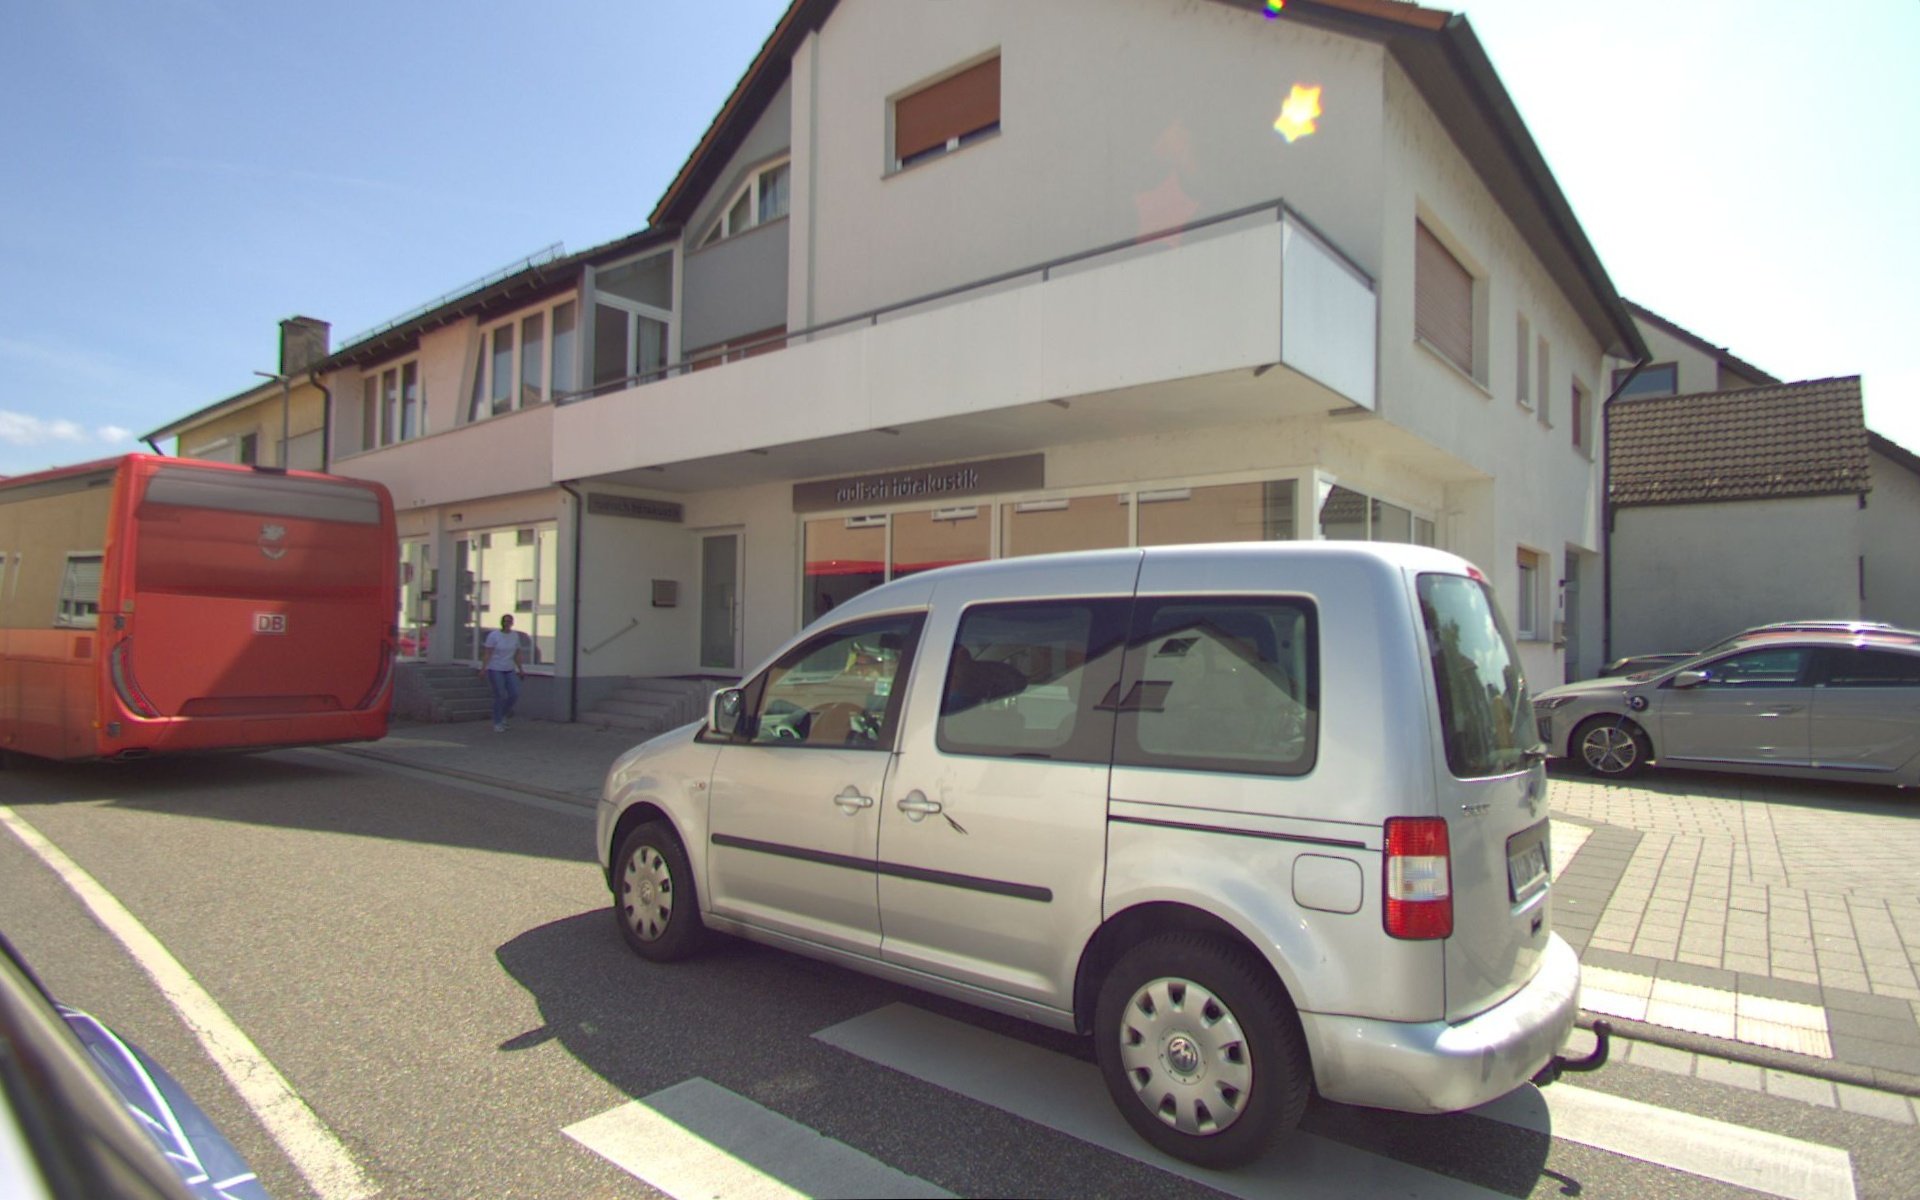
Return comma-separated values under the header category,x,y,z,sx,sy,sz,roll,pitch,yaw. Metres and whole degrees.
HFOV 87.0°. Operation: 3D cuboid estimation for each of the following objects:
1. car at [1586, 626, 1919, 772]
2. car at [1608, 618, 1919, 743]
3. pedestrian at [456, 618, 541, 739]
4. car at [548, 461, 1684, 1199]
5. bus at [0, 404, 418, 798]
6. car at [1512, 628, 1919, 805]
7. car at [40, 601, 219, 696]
category,x,y,z,sx,sy,sz,roll,pitch,yaw
car,9.814,1.085,11.949,3.959,1.488,1.730,0,-2,39
car,13.255,1.204,16.149,4.744,1.752,1.961,0,-2,39
pedestrian,-6.431,1.060,14.097,0.956,1.595,0.747,0,0,41
car,0.243,0.696,4.264,4.438,1.835,1.753,-1,-4,40
bus,-11.505,0.105,12.639,11.982,3.257,2.607,0,-4,32
car,8.077,1.046,9.904,4.473,1.462,1.812,0,-2,39
car,-15.593,0.829,18.939,3.994,1.527,1.727,0,2,38
